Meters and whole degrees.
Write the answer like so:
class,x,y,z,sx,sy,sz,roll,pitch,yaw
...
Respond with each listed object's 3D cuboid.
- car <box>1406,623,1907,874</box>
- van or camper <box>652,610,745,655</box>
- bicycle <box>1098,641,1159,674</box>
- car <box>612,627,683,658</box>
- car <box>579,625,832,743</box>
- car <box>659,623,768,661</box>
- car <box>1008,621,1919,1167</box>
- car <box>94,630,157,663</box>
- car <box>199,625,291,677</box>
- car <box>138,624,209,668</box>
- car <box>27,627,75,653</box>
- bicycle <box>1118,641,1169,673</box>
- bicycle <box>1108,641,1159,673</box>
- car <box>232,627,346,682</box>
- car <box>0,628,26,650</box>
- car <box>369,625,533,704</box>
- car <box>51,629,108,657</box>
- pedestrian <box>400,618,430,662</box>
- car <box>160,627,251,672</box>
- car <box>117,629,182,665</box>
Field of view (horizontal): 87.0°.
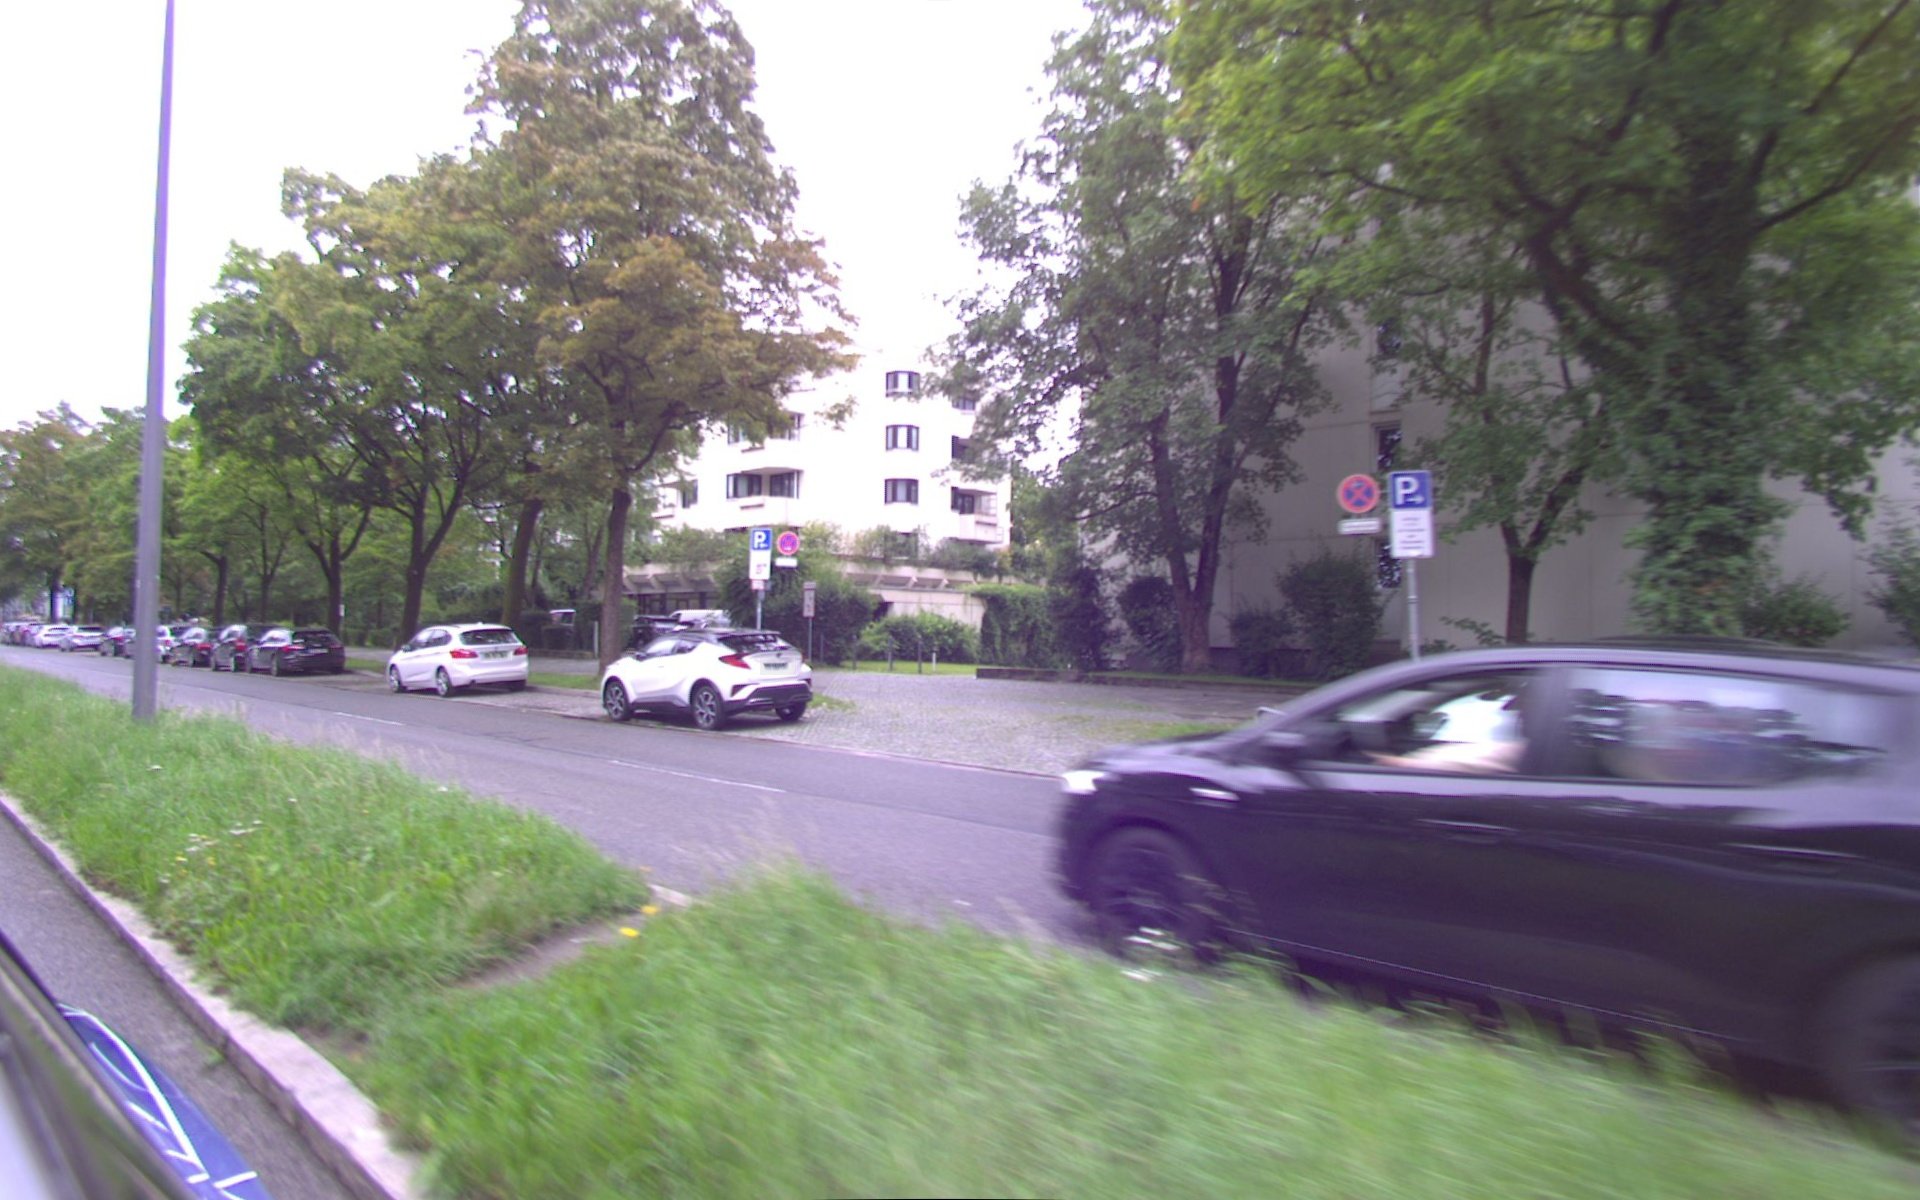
class,x,y,z,sx,sy,sz,roll,pitch,yaw
car,5.507,1.016,8.254,3.076,1.577,1.674,-1,0,39
van or camper,-11.581,1.431,44.727,4.430,1.885,1.837,-2,-2,42
bicycle,4.854,1.656,29.206,1.765,0.907,0.472,-1,-3,41
car,-13.058,1.757,42.252,3.126,1.209,1.440,-2,-2,42
car,-4.280,1.255,16.611,4.490,1.621,1.813,-2,0,42
car,-9.767,1.657,40.308,1.861,1.429,3.937,-1,-2,39
car,2.367,0.832,4.040,4.213,1.451,1.720,-2,-3,42
car,-39.739,2.193,48.157,4.360,1.434,1.564,-2,0,41
car,-24.365,1.701,34.437,4.209,1.609,1.668,-2,0,42
car,-32.375,1.859,41.624,3.866,1.660,1.608,-2,0,42
car,-57.115,2.501,63.562,4.473,1.541,1.720,-2,-1,42
bicycle,5.425,1.671,29.978,1.450,0.907,0.453,-1,-3,41
bicycle,5.076,1.663,29.635,1.450,0.907,0.453,-1,-3,41
car,-20.810,1.626,31.286,4.946,1.525,1.742,-2,0,42
car,-72.994,2.990,77.716,3.819,1.626,1.629,-2,-1,43
car,-11.776,1.412,23.285,4.486,1.607,1.739,-2,0,40
car,-49.719,2.393,57.120,4.819,1.459,1.718,-1,0,41
pedestrian,-21.285,1.563,39.522,0.839,1.669,0.609,2,-3,-44
car,-28.451,1.819,38.108,5.031,1.536,1.698,-2,0,41
car,-35.753,2.034,44.608,4.191,1.434,1.608,-2,0,42
